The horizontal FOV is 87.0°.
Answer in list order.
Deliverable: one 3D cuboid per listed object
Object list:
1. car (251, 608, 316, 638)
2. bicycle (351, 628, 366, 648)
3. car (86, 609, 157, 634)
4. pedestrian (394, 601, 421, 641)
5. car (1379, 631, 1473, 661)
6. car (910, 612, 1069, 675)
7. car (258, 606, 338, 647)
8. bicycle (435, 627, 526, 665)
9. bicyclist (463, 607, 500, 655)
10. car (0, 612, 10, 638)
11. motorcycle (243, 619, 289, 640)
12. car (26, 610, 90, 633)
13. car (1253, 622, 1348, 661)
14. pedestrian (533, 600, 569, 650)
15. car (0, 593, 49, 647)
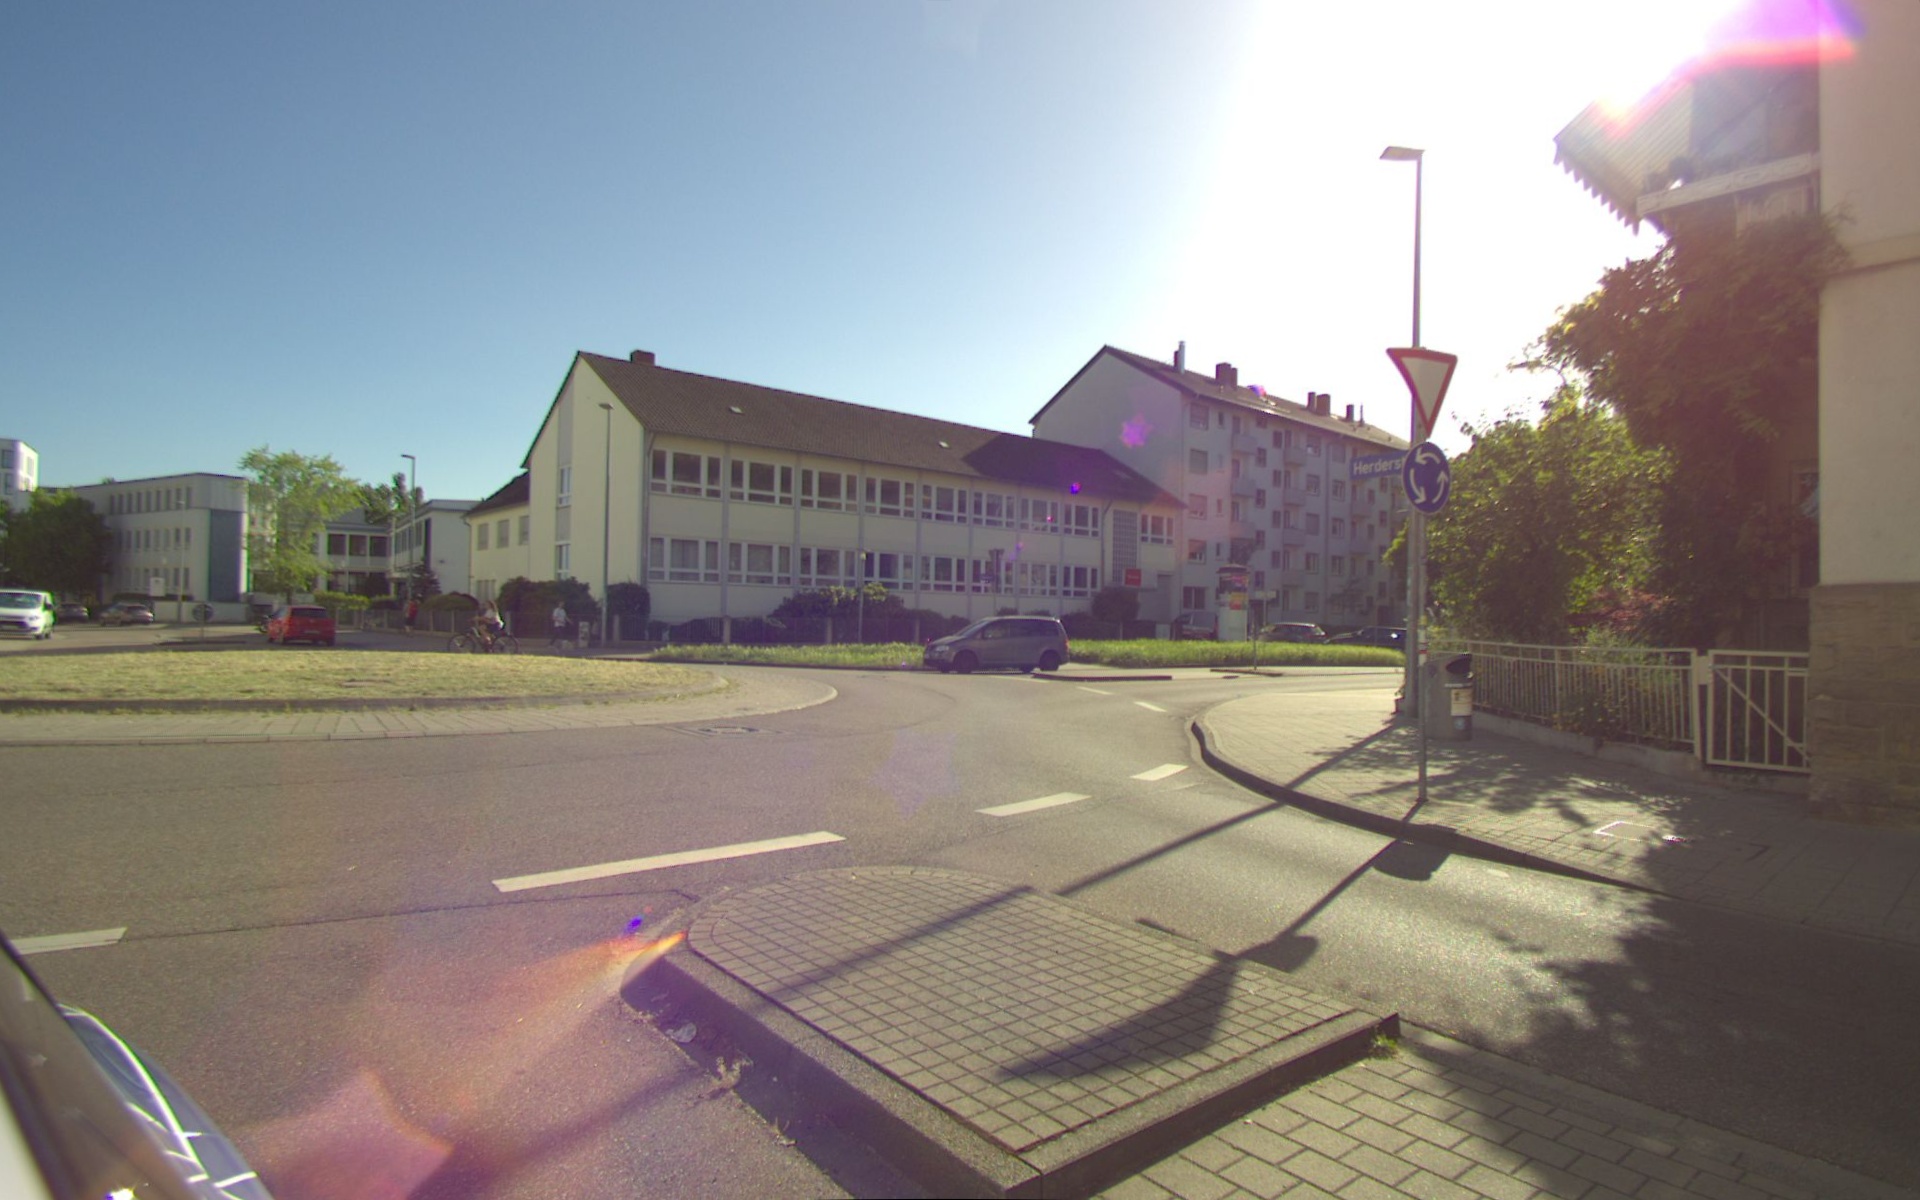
[{"bbox_3d":[-34.474,1.166,51.506,4.415,1.445,1.859,-1,-1,44],"label":"car"},{"bbox_3d":[-32.304,2.028,54.338,1.264,1.023,0.341,-1,-3,45],"label":"bicycle"},{"bbox_3d":[-57.398,1.454,69.242,4.813,1.625,2.119,0,0,28],"label":"car"},{"bbox_3d":[-24.155,0.902,44.212,0.807,1.718,0.998,1,-1,-43],"label":"pedestrian"},{"bbox_3d":[24.174,2.372,52.622,1.966,1.475,4.011,2,-2,-34],"label":"car"},{"bbox_3d":[0.845,1.230,29.190,4.199,1.709,1.887,1,-2,-23],"label":"car"},{"bbox_3d":[-24.496,0.989,37.387,1.691,1.393,4.003,4,-4,-44],"label":"car"},{"bbox_3d":[-13.297,1.269,28.140,2.172,1.022,0.814,0,-1,-17],"label":"bicycle"},{"bbox_3d":[-13.294,0.855,28.142,0.811,1.322,0.814,0,-1,-17],"label":"bicyclist"},{"bbox_3d":[-57.125,1.369,58.993,3.992,1.465,1.737,0,-5,36],"label":"car"},{"bbox_3d":[-36.780,1.552,53.633,1.930,1.103,0.592,0,-1,-17],"label":"motorcycle"},{"bbox_3d":[-66.190,1.535,74.283,4.816,1.625,2.118,0,0,30],"label":"car"},{"bbox_3d":[16.473,1.975,49.123,1.966,1.785,4.011,2,-2,-34],"label":"car"},{"bbox_3d":[-14.233,0.880,35.245,0.982,1.718,0.693,0,-1,-3],"label":"pedestrian"},{"bbox_3d":[-38.637,0.785,41.122,1.968,2.029,4.806,6,-4,-38],"label":"car"}]
